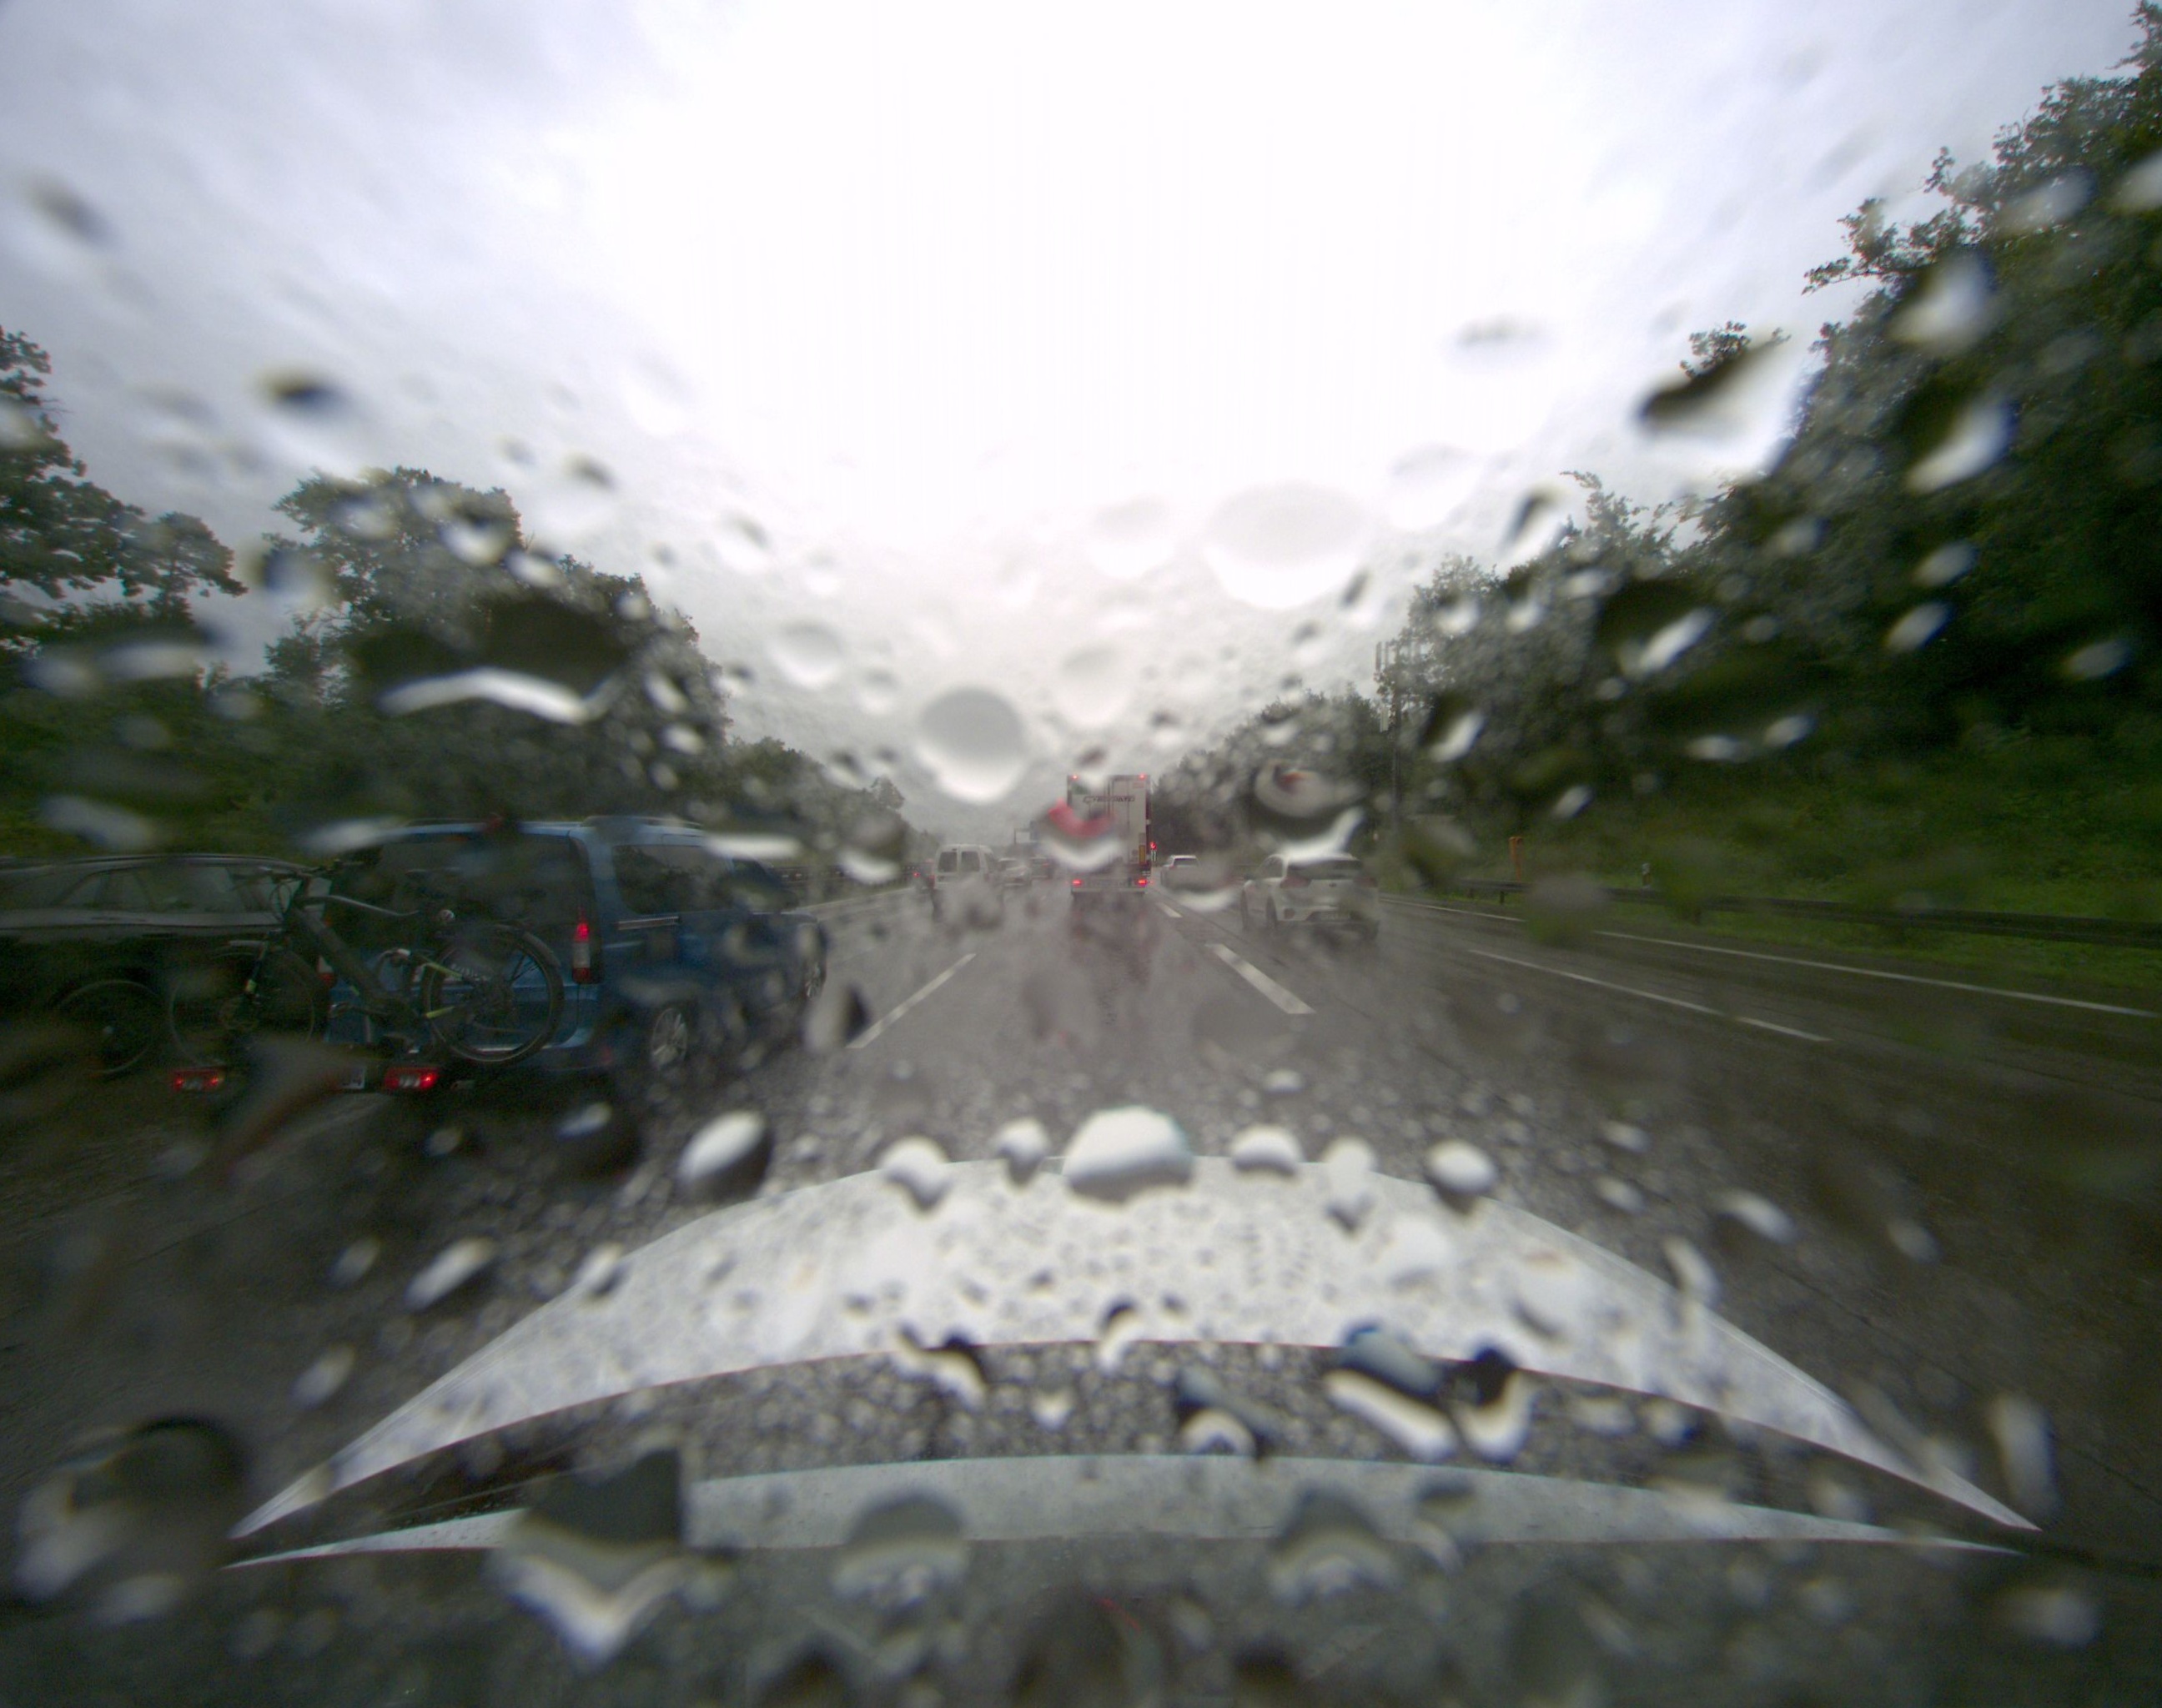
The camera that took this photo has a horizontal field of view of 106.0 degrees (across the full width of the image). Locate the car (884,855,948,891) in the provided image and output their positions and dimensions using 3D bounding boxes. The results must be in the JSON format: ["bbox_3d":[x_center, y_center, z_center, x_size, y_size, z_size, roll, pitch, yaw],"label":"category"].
[{"bbox_3d":[-7.841,0.866,39.192,2.084,1.504,4.753,-2,0,-1],"label":"car"}]

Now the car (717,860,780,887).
[{"bbox_3d":[-18.092,1.050,44.483,1.795,1.345,3.677,-1,0,1],"label":"car"}]

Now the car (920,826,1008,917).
[{"bbox_3d":[-3.541,0.484,25.692,2.207,2.573,5.011,0,0,-2],"label":"car"}]

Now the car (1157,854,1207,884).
[{"bbox_3d":[5.035,0.727,41.125,2.000,1.394,4.569,0,0,1],"label":"car"}]

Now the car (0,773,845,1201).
[{"bbox_3d":[-3.779,0.596,6.184,2.260,1.912,5.019,0,0,3],"label":"car"}]

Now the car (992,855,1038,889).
[{"bbox_3d":[-3.315,0.876,41.764,1.838,1.591,4.074,0,0,2],"label":"car"}]

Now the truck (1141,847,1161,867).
[{"bbox_3d":[10.281,0.451,120.568,2.579,2.941,6.459,0,0,2],"label":"truck"}]

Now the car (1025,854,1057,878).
[{"bbox_3d":[-2.772,0.809,57.086,1.838,1.591,4.469,0,0,2],"label":"car"}]

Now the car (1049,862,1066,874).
[{"bbox_3d":[-2.728,1.605,94.458,1.840,1.330,4.464,0,0,-1],"label":"car"}]

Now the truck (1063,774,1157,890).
[{"bbox_3d":[1.030,-0.619,30.717,2.862,3.562,11.304,0,-1,1],"label":"truck"}]

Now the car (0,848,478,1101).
[{"bbox_3d":[-7.664,0.763,6.766,1.838,1.591,4.469,0,0,2],"label":"car"}]

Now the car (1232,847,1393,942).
[{"bbox_3d":[4.128,0.647,15.276,1.839,1.522,4.344,0,0,1],"label":"car"}]
